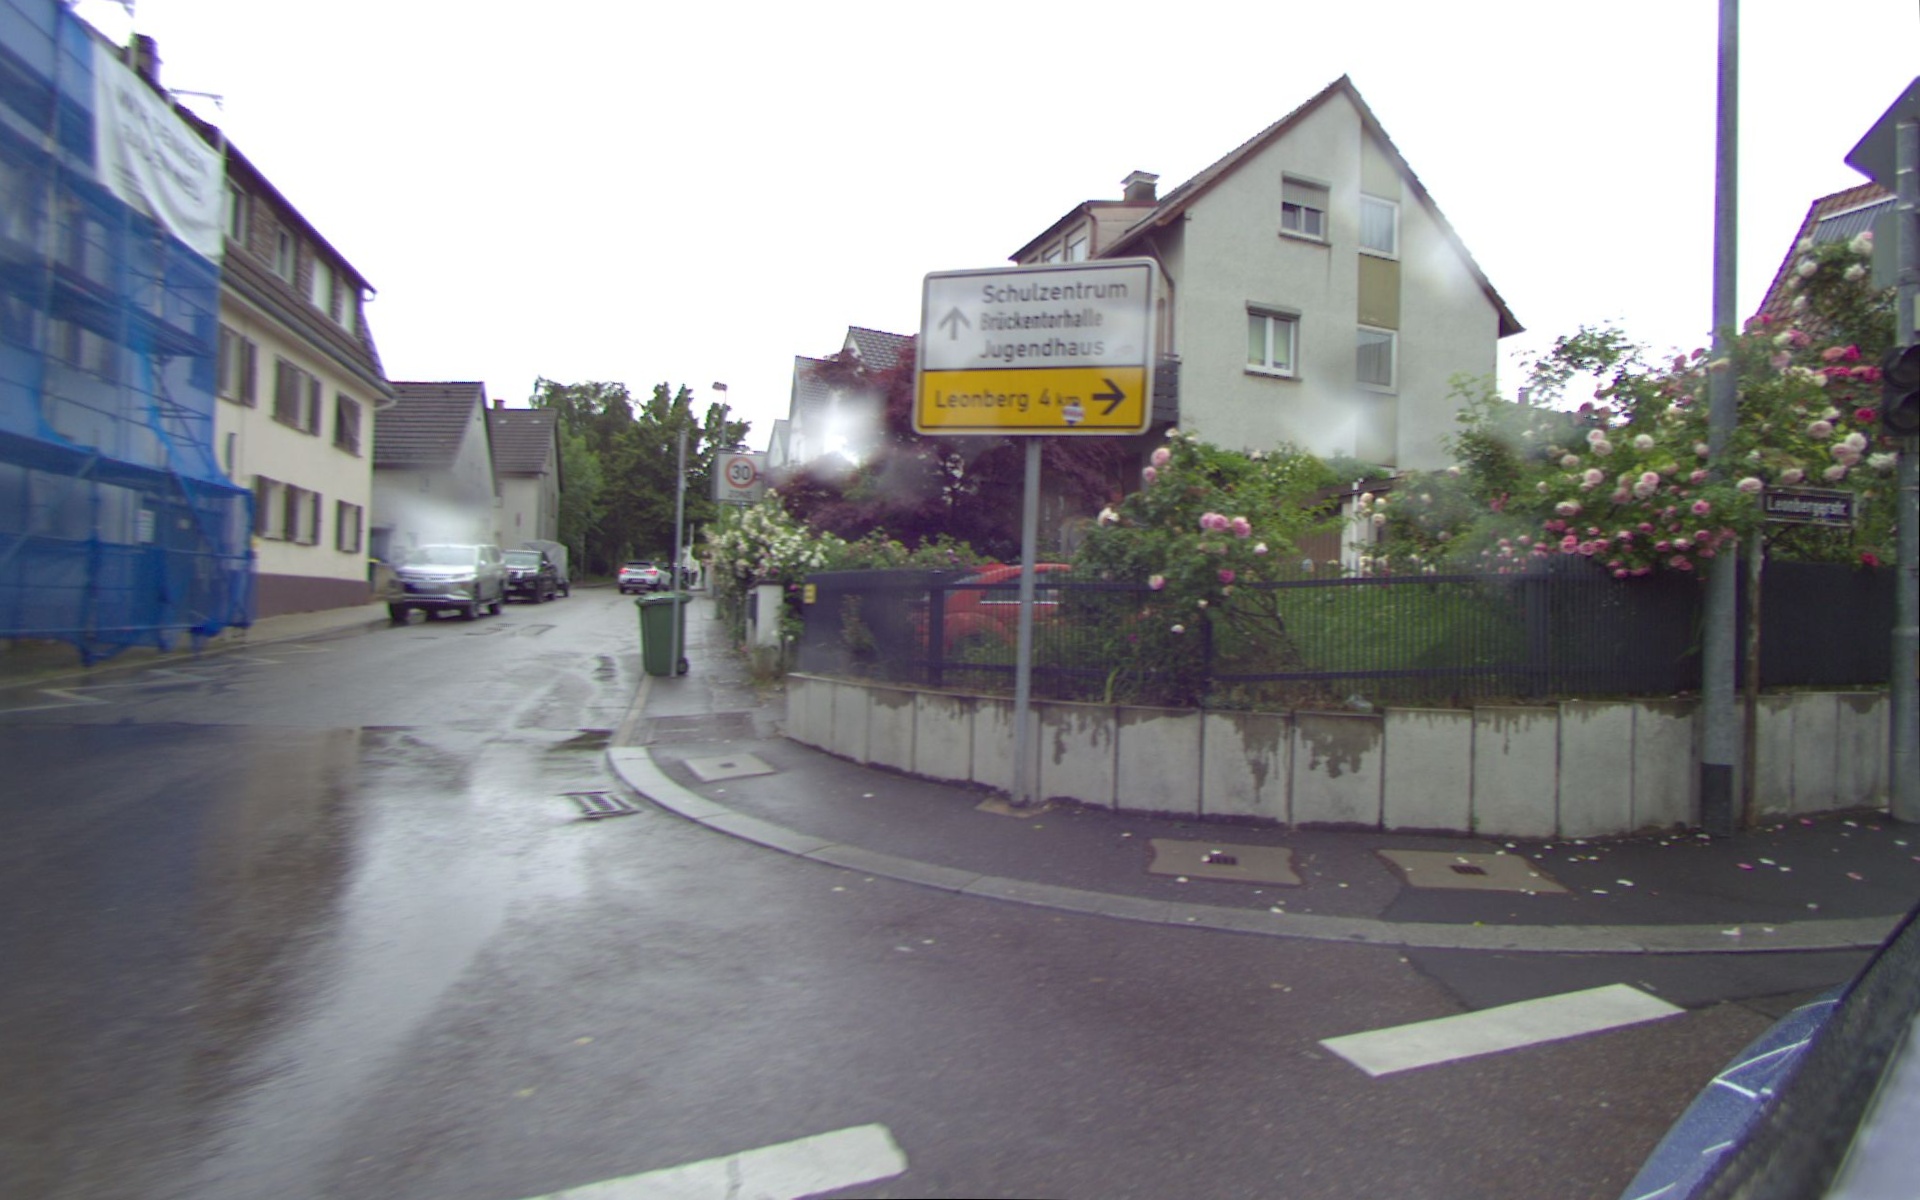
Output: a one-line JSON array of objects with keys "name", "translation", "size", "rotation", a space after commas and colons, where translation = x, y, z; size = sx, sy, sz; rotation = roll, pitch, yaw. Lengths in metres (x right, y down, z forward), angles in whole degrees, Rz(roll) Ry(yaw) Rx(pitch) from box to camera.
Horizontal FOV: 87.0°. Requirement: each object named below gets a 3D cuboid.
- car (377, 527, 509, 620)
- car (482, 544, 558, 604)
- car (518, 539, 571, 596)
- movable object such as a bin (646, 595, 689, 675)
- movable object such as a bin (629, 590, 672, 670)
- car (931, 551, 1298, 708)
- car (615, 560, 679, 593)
[{"name": "car", "translation": [-12.359, -0.656, 24.503], "size": [1.790, 2.000, 4.527], "rotation": [1, 2, -14]}, {"name": "car", "translation": [-14.696, -0.886, 34.026], "size": [1.790, 1.819, 4.528], "rotation": [1, 2, -17]}, {"name": "car", "translation": [-16.407, -1.271, 40.094], "size": [1.675, 2.128, 3.949], "rotation": [0, 1, -18]}, {"name": "movable object such as a bin", "translation": [-3.946, 0.466, 13.671], "size": [0.511, 1.039, 0.415], "rotation": [1, 1, -13]}, {"name": "movable object such as a bin", "translation": [-4.291, 0.404, 14.032], "size": [0.511, 1.062, 0.415], "rotation": [-2, 2, -13]}, {"name": "car", "translation": [1.822, 0.347, 12.058], "size": [3.916, 1.619, 1.725], "rotation": [3, 1, -21]}, {"name": "car", "translation": [-14.535, -1.114, 47.158], "size": [1.734, 1.371, 3.677], "rotation": [3, 1, 1]}]
